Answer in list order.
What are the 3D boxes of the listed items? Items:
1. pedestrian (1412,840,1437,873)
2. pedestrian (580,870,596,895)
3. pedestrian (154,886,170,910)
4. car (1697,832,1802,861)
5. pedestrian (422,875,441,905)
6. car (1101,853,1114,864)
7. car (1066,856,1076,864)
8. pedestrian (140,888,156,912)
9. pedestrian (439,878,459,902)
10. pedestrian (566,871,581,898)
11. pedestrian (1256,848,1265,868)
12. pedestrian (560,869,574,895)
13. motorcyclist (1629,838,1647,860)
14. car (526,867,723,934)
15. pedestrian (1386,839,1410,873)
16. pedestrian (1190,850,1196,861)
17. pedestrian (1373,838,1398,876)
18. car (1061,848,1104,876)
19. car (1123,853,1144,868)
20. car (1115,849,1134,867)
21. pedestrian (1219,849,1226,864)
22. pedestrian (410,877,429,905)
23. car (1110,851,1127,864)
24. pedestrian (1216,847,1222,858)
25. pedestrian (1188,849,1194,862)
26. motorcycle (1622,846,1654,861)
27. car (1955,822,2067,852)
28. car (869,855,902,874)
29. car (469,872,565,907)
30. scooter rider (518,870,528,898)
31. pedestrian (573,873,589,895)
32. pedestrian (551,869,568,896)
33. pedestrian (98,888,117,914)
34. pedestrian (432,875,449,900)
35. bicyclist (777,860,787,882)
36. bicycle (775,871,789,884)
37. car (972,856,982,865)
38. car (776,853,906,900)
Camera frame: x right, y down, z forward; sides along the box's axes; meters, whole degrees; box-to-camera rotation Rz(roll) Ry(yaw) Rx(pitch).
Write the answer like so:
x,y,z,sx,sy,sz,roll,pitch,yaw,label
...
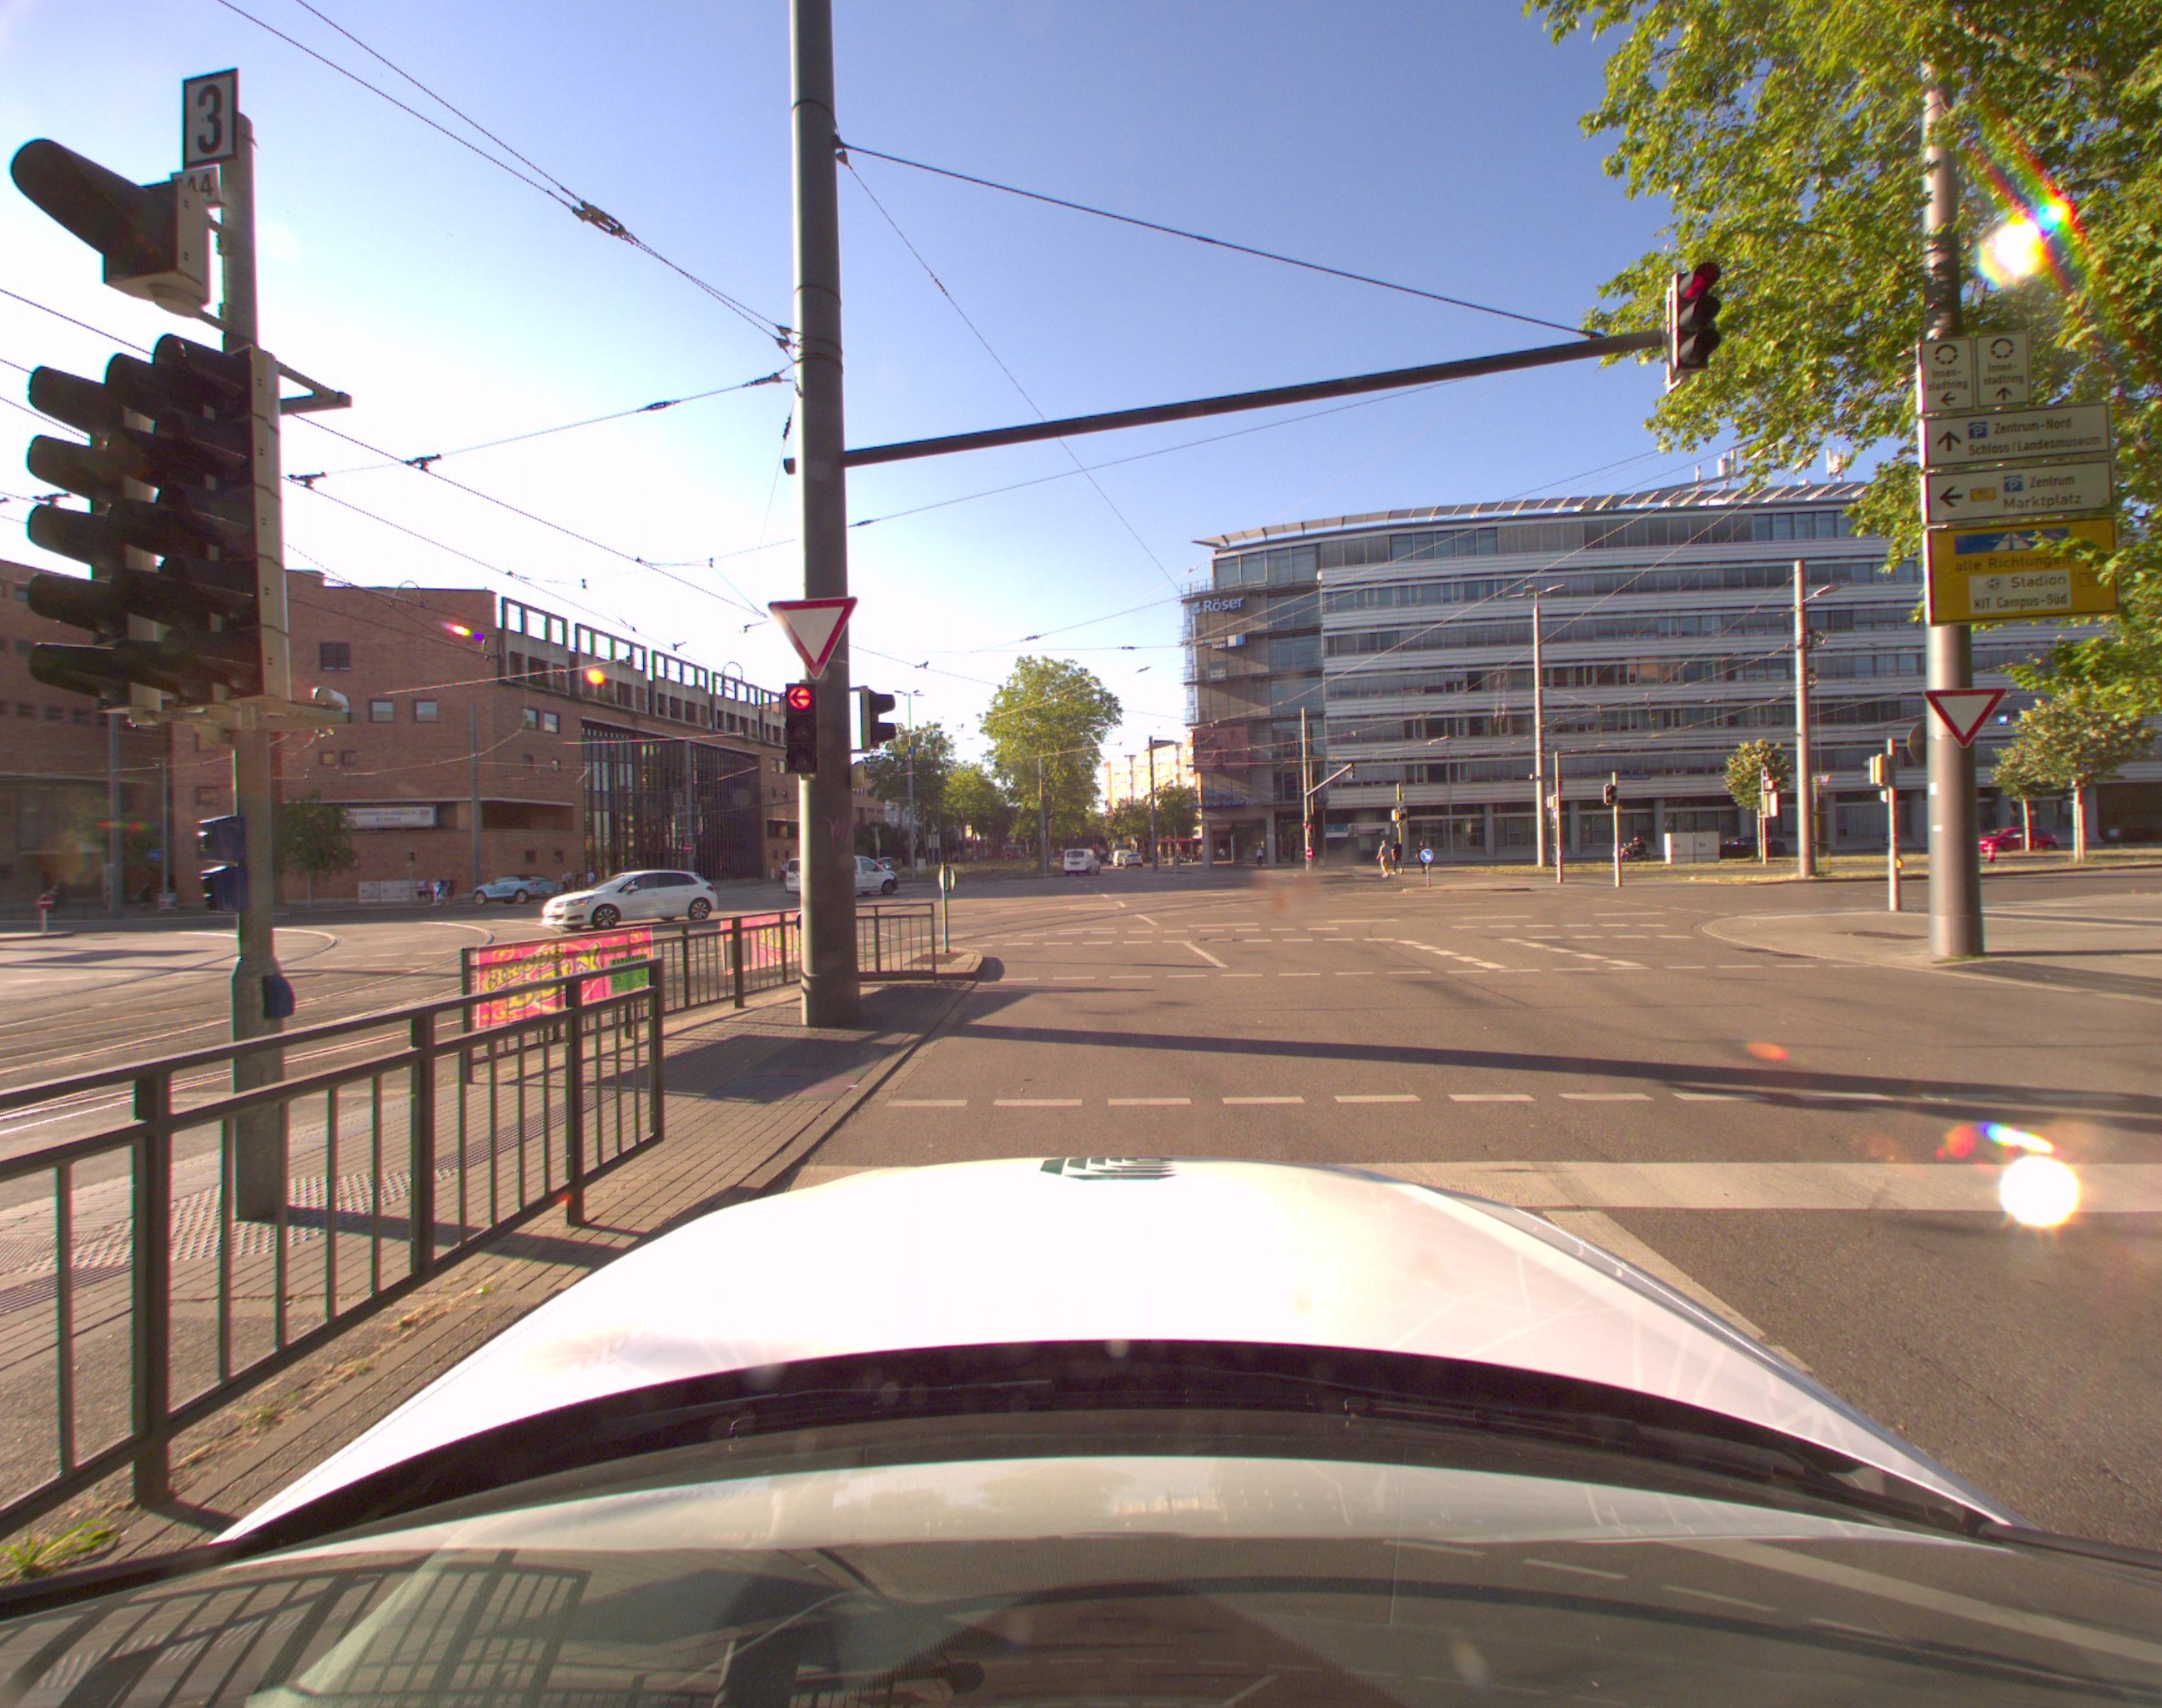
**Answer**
x,y,z,sx,sy,sz,roll,pitch,yaw,label
17.186,0.118,40.759,0.943,1.564,0.899,-2,0,9,pedestrian
-33.170,1.940,54.817,0.605,1.625,0.621,-2,0,20,pedestrian
-56.658,2.706,50.218,0.549,1.427,0.563,-2,0,33,pedestrian
36.835,-0.380,44.964,4.136,1.398,1.789,-2,0,7,car
-37.552,2.084,47.116,0.597,1.648,0.549,-2,0,1,pedestrian
4.092,0.659,126.772,1.986,1.618,4.002,-2,0,2,car
-1.765,1.095,147.524,1.792,1.442,3.999,0,-1,0,car
-57.392,2.825,50.093,0.583,1.463,0.537,-2,0,34,pedestrian
-36.536,2.076,47.088,0.597,1.339,0.684,-2,0,17,pedestrian
-32.667,1.974,52.444,0.585,1.683,0.554,-2,0,20,pedestrian
13.746,0.298,62.389,0.609,1.507,0.580,-2,0,6,pedestrian
-34.165,1.860,54.137,0.567,1.683,0.552,-2,0,20,pedestrian
33.066,-0.300,48.366,0.708,1.275,0.460,-2,0,5,motorcyclist
-12.263,1.195,22.172,1.738,1.488,4.337,-2,0,33,car
16.008,0.113,41.160,0.907,1.685,1.038,-2,0,9,pedestrian
14.365,0.204,104.530,0.575,1.289,0.910,-2,0,2,pedestrian
14.714,0.134,39.375,0.859,1.788,0.873,-2,0,7,pedestrian
0.160,0.516,57.439,1.742,1.867,4.544,-2,0,16,car
5.291,0.623,82.817,1.986,1.376,4.002,-2,0,2,car
4.744,0.452,89.635,1.986,1.860,4.002,-2,0,2,car
14.397,0.232,82.887,0.608,1.507,0.580,-2,0,9,pedestrian
-38.448,2.142,47.335,0.594,1.614,0.589,-2,0,1,pedestrian
4.820,0.480,105.291,1.986,1.618,4.002,-2,0,2,car
22.027,-0.251,130.225,0.741,1.714,0.612,-2,0,1,pedestrian
14.160,0.221,104.793,0.741,1.714,0.612,-2,0,1,pedestrian
33.070,-0.039,48.361,1.560,0.810,0.468,-2,0,6,motorcycle
52.443,-0.957,45.997,3.966,1.393,1.789,-4,0,7,car
-18.115,0.965,75.522,1.987,1.640,4.001,-2,0,1,car
-28.689,1.794,41.494,3.683,1.575,2.010,-2,0,13,car
-33.711,1.809,49.180,0.441,1.647,0.226,-2,0,-44,scooter rider
-33.088,1.986,53.933,0.635,1.421,0.602,-2,0,18,pedestrian
-33.725,1.846,52.634,0.643,1.683,0.625,-2,0,23,pedestrian
-56.755,2.760,47.495,0.508,1.463,0.466,-2,0,-6,pedestrian
-38.035,1.970,48.353,0.568,1.453,0.612,-2,0,-13,pedestrian
-24.338,1.387,66.314,0.534,1.731,0.581,-2,0,1,bicyclist
-24.339,1.892,66.307,0.540,0.963,1.587,-2,0,2,bicycle
-24.868,1.643,194.797,1.987,2.013,3.999,-2,0,-1,car
-10.684,0.973,36.632,1.942,1.848,5.363,-2,0,41,car
